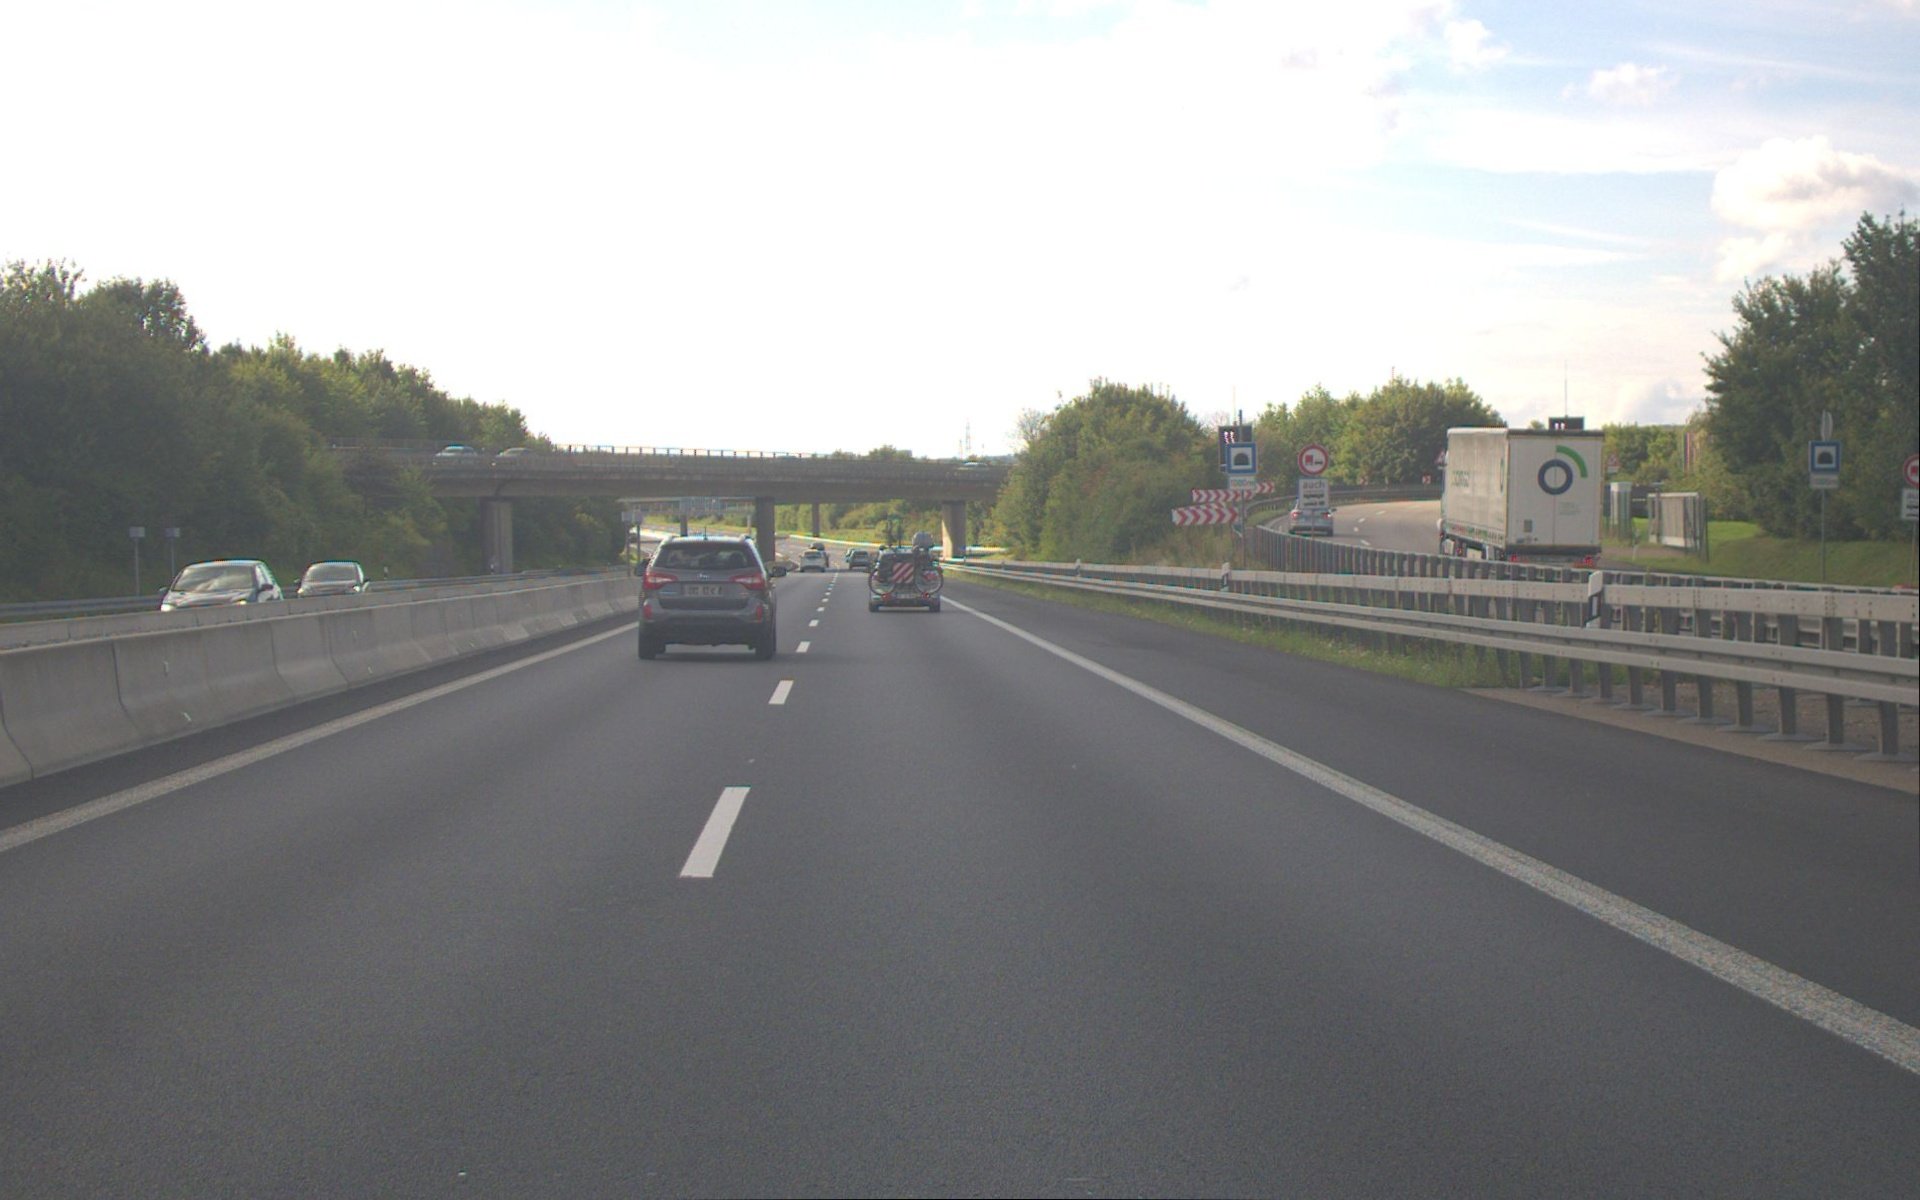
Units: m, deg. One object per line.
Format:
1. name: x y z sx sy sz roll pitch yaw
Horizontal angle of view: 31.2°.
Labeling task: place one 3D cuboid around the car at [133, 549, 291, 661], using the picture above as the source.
1. car: -12.996 0.047 59.977 1.807 1.826 4.397 -2 1 -1

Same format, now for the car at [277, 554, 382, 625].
1. car: -16.067 -0.283 87.761 1.993 1.711 4.000 -2 1 -2

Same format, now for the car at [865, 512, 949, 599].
1. car: -1.355 -1.116 86.536 1.993 2.073 4.000 -2 1 -2

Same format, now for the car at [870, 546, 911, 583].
1. car: -3.482 -1.793 171.617 1.975 1.773 4.121 -2 1 -2

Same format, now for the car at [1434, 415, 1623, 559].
1. car: 15.357 -2.996 93.487 3.576 3.664 7.549 -2 1 -2

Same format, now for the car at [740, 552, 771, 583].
1. car: -13.800 -2.178 232.235 1.993 2.007 4.000 -2 1 -2

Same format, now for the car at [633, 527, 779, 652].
1. car: -3.517 -0.166 48.111 1.750 1.624 3.609 -2 1 0

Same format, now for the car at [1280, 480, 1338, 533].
1. car: 13.780 -3.672 135.957 1.994 2.007 4.000 -2 1 3
